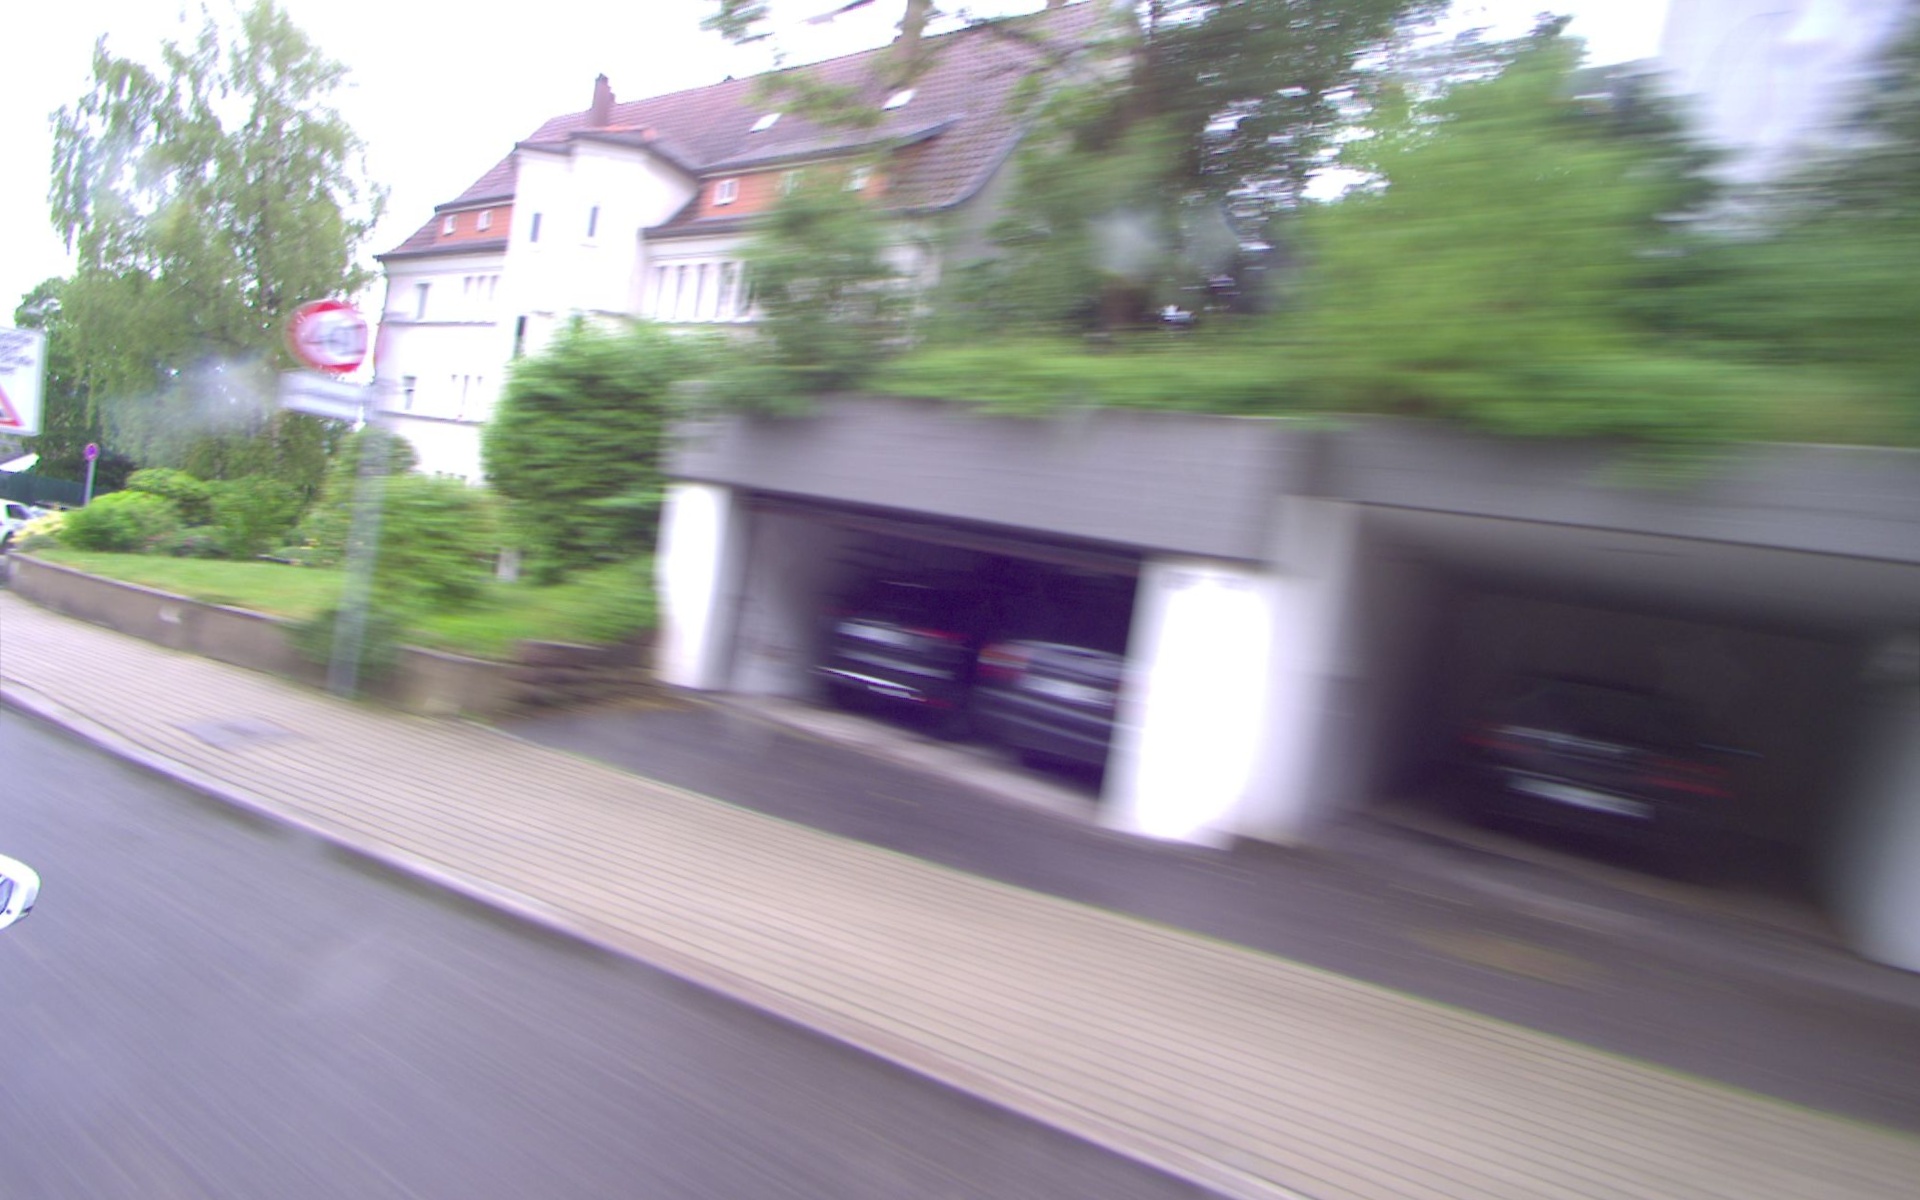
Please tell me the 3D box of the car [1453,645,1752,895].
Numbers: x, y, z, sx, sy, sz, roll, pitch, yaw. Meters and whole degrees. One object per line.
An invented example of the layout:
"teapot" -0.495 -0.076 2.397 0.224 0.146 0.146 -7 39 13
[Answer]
"car" 5.709 1.337 8.968 1.645 1.462 3.781 11 2 34

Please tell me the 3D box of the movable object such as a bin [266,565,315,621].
"movable object such as a bin" -13.427 -0.141 20.177 0.680 1.025 0.530 6 -2 39

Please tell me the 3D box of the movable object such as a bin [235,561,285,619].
"movable object such as a bin" -13.594 -0.196 19.546 0.680 1.025 0.530 6 -2 39

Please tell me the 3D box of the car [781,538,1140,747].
"car" 0.206 0.562 10.950 1.770 1.647 3.993 11 0 34

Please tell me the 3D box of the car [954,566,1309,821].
"car" 1.799 0.855 9.451 1.645 1.696 3.783 11 1 34

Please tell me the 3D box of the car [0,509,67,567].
"car" -26.343 -1.773 27.361 1.774 1.462 4.083 8 -2 -24
